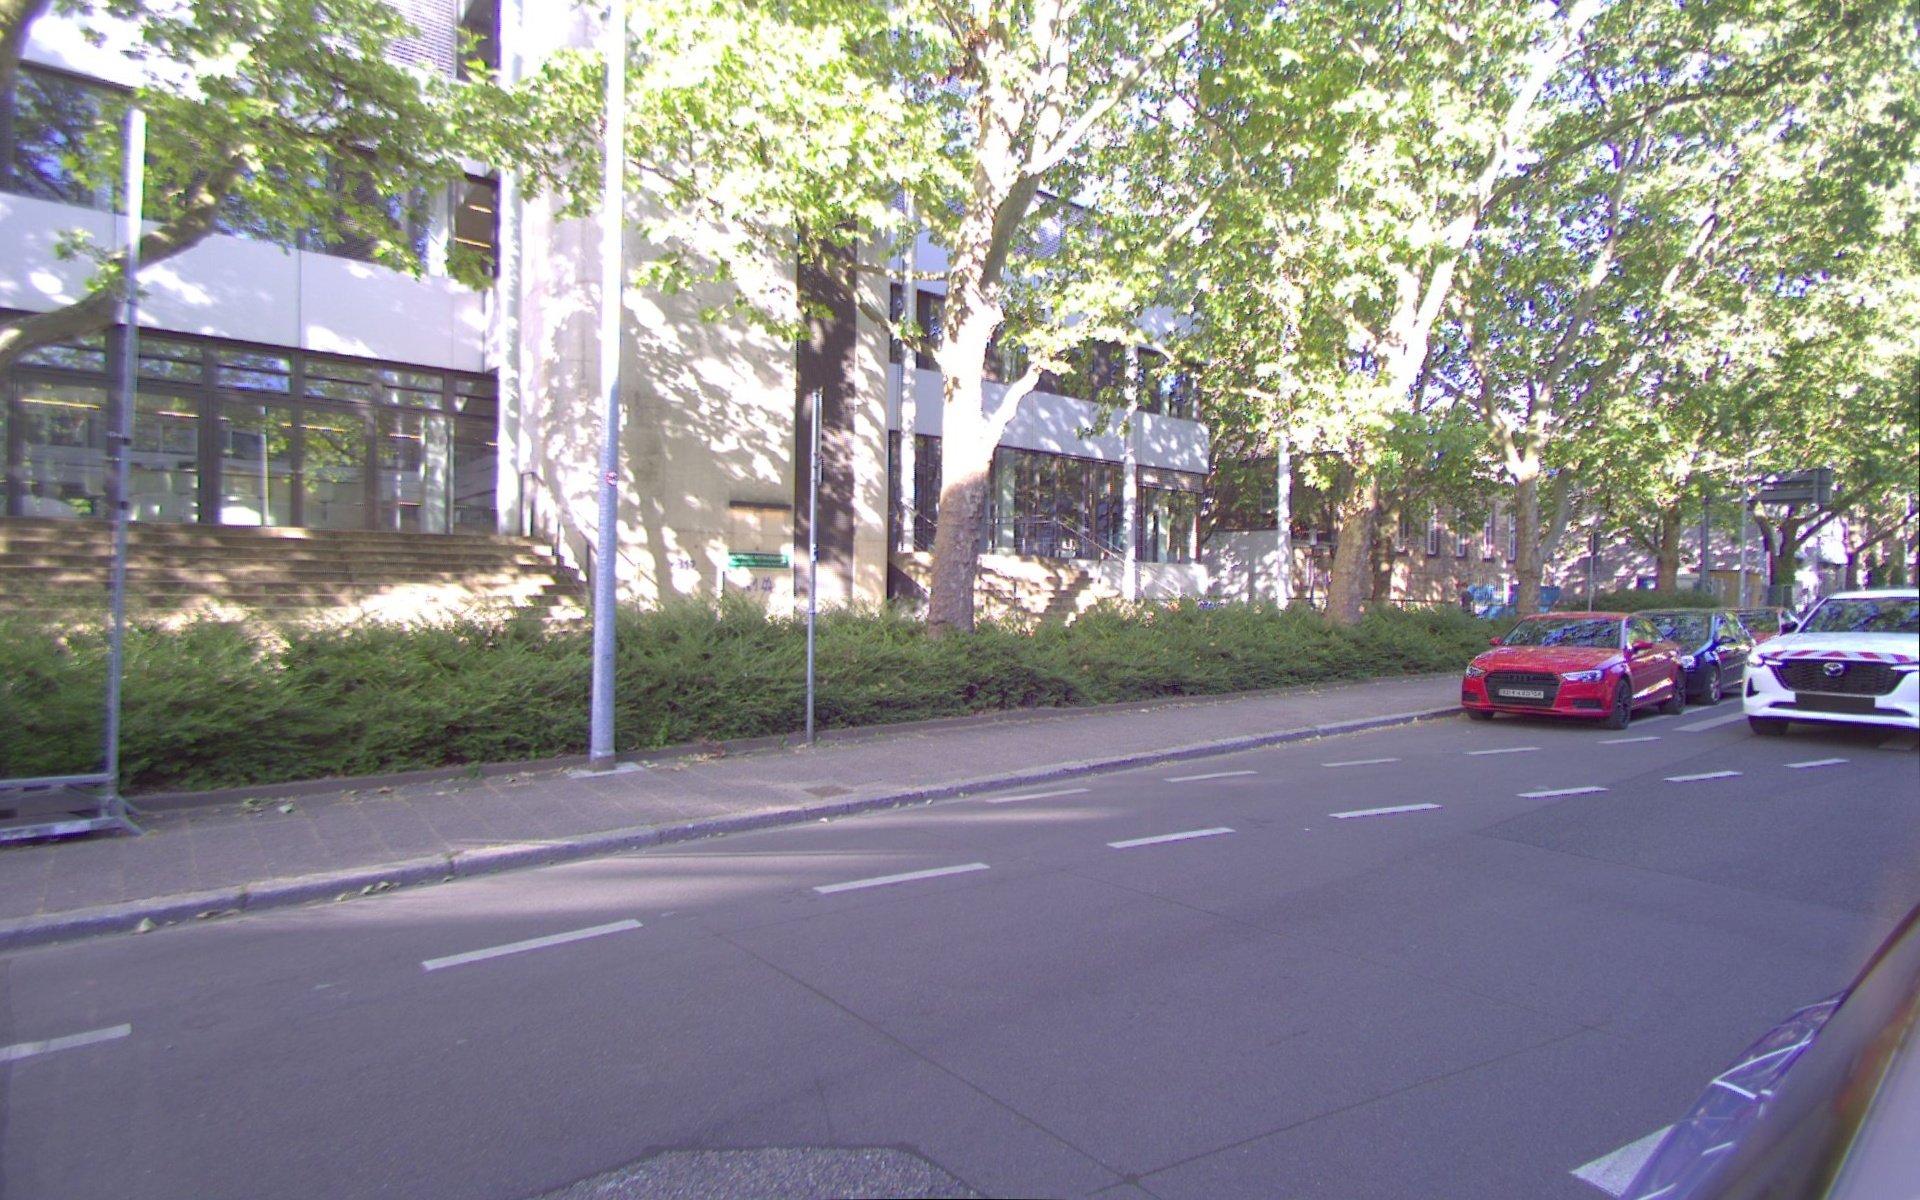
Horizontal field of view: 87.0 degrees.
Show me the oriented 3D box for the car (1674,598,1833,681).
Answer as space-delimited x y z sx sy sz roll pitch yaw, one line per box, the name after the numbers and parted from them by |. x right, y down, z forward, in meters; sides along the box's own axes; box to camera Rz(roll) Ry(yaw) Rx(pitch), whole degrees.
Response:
15.708 0.718 19.980 3.841 1.486 1.753 0 -1 -41 | car

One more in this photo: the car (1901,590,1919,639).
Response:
36.200 0.513 37.279 4.370 1.750 1.753 0 -1 -41 | car

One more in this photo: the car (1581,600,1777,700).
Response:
11.856 0.736 16.604 3.841 1.451 1.753 0 -1 -41 | car

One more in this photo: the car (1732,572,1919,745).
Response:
11.084 0.590 11.809 4.396 1.730 1.950 0 -1 -33 | car

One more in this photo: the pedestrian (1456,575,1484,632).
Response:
15.369 0.107 30.485 0.649 1.691 0.525 0 0 -39 | pedestrian

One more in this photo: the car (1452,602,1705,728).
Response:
8.292 0.750 13.446 3.930 1.427 1.753 0 -1 -41 | car

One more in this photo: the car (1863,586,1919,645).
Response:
30.977 0.483 32.982 4.370 1.843 1.753 0 -1 -41 | car
